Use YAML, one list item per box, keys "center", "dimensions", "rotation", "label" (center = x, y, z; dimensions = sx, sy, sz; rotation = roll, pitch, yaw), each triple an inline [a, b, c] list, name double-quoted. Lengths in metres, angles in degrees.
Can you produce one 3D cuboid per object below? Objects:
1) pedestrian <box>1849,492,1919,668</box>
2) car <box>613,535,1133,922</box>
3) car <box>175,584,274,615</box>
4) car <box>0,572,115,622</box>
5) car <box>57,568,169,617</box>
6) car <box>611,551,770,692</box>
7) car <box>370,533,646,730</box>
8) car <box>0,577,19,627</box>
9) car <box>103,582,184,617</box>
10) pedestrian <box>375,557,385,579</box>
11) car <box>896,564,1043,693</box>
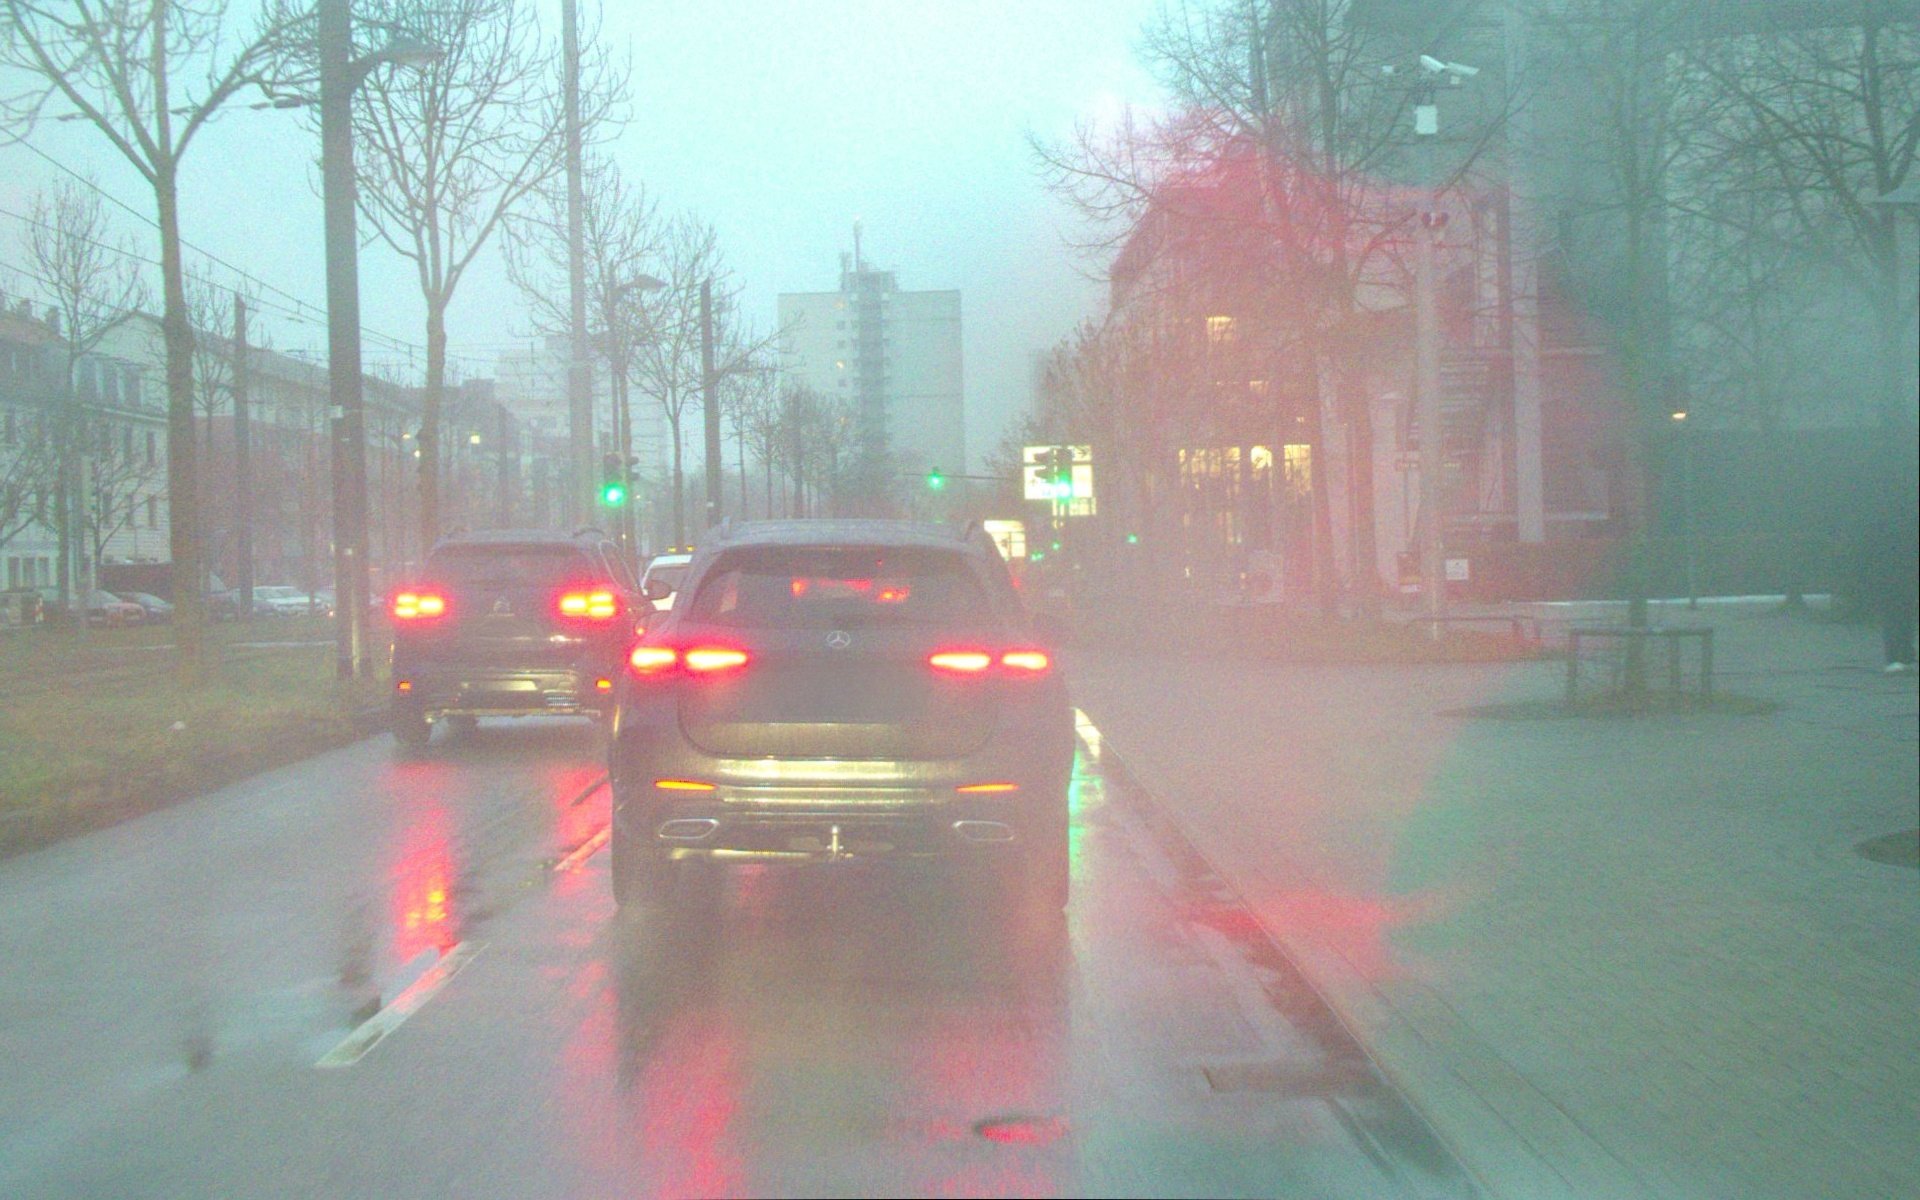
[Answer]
- center: [8.658, -0.188, 32.104]
  dimensions: [0.673, 1.619, 0.614]
  rotation: [1, 0, 15]
  label: "pedestrian"
- center: [-0.355, 0.487, 15.112]
  dimensions: [1.993, 1.478, 3.700]
  rotation: [0, 0, -1]
  label: "car"
- center: [-29.385, -0.030, 137.311]
  dimensions: [3.535, 1.196, 1.879]
  rotation: [1, 1, 31]
  label: "car"
- center: [-28.667, -0.101, 108.315]
  dimensions: [4.158, 1.536, 1.666]
  rotation: [1, 1, 36]
  label: "car"
- center: [-28.333, -0.248, 114.921]
  dimensions: [3.846, 1.583, 1.738]
  rotation: [1, 1, 41]
  label: "car"
- center: [-3.240, 0.232, 41.895]
  dimensions: [1.689, 1.630, 3.474]
  rotation: [0, 0, -1]
  label: "car"
- center: [-3.528, 0.215, 27.470]
  dimensions: [1.817, 1.445, 4.000]
  rotation: [0, 1, -2]
  label: "car"
- center: [-28.786, 0.037, 98.848]
  dimensions: [3.382, 1.417, 1.666]
  rotation: [1, 1, 38]
  label: "car"
- center: [-28.940, -0.012, 121.806]
  dimensions: [2.886, 1.199, 1.385]
  rotation: [1, 1, 41]
  label: "car"
- center: [-30.796, -1.686, 182.634]
  dimensions: [0.345, 1.180, 0.434]
  rotation: [0, 0, -41]
  label: "pedestrian"
- center: [0.103, 0.345, 45.648]
  dimensions: [1.854, 1.630, 3.474]
  rotation: [0, 0, -1]
  label: "car"
